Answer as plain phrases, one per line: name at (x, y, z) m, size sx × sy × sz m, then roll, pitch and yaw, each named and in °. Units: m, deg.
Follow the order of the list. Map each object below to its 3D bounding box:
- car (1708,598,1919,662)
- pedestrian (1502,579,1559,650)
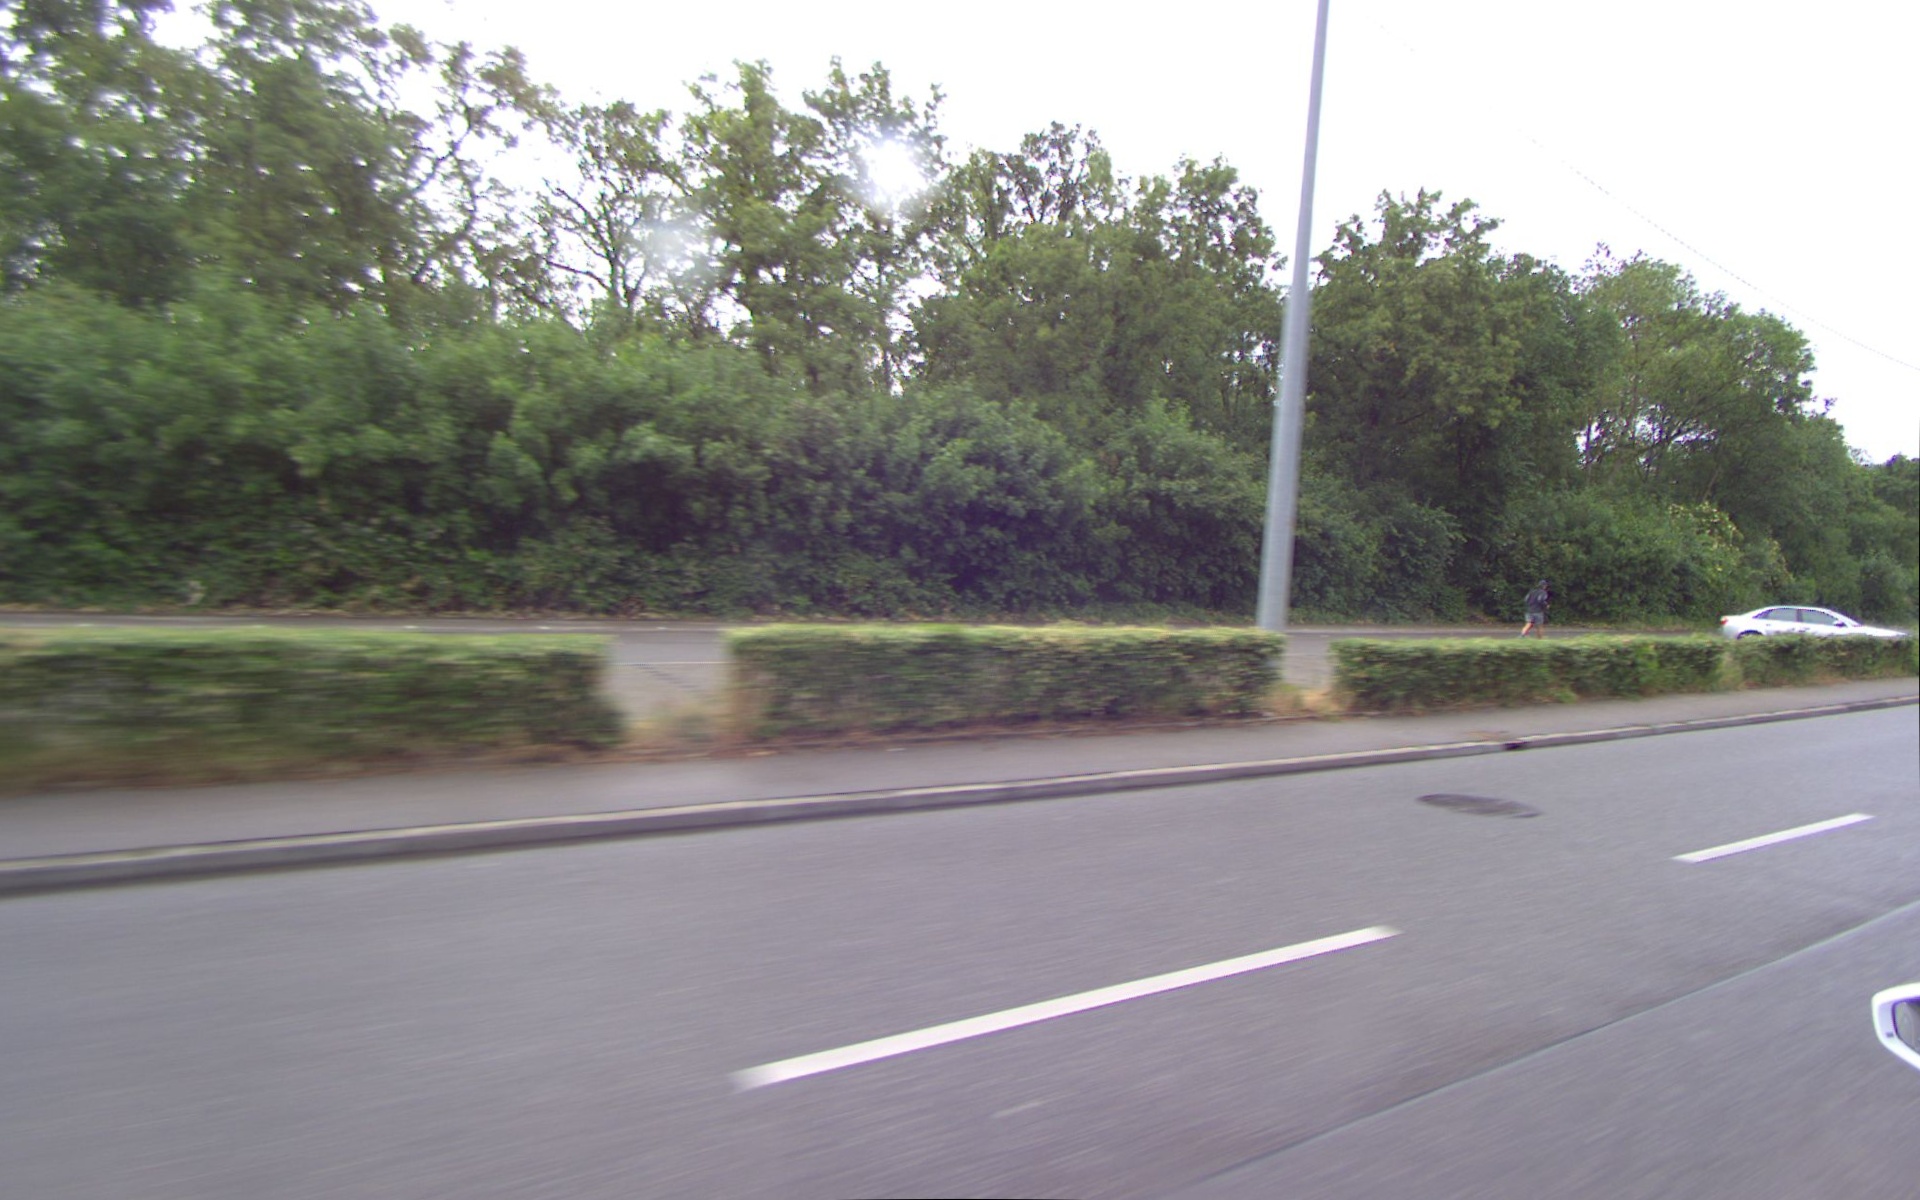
car at (25.128, 0.820, 29.636) m, size 1.984 × 1.526 × 4.535 m, roll 1°, pitch 2°, yaw -41°
pedestrian at (15.248, 0.384, 26.853) m, size 1.122 × 1.822 × 0.813 m, roll 1°, pitch 2°, yaw -30°
